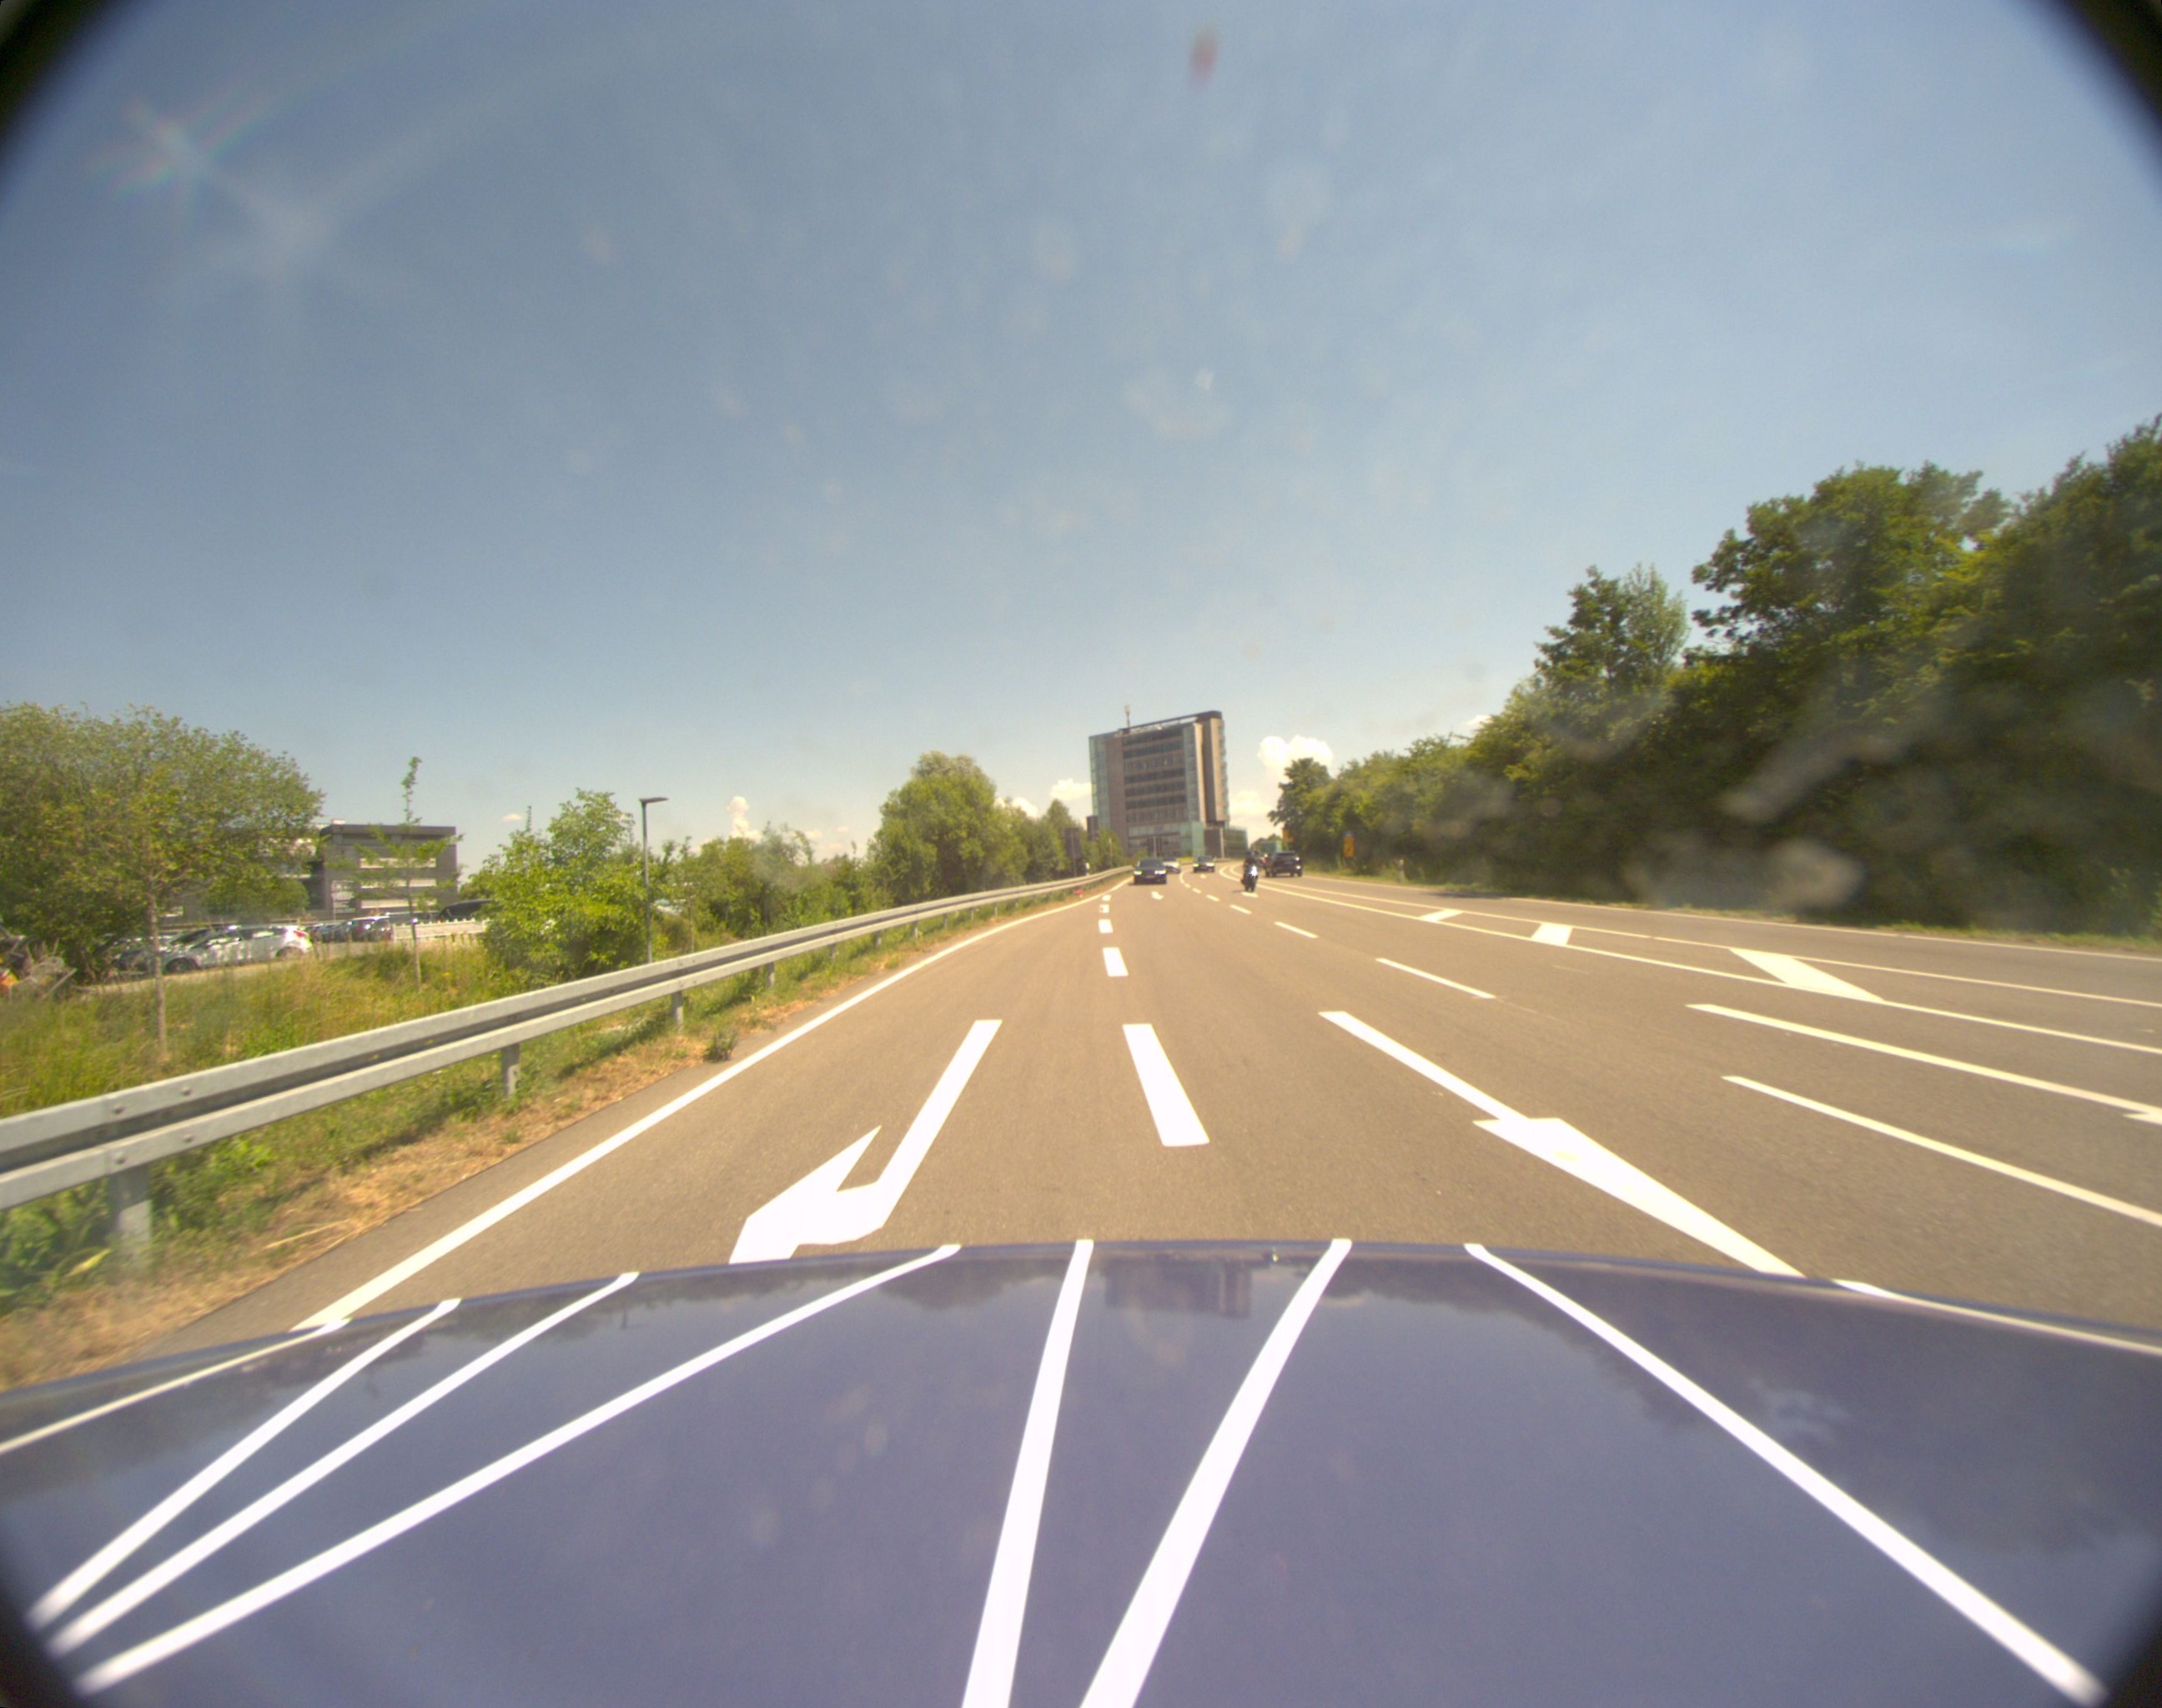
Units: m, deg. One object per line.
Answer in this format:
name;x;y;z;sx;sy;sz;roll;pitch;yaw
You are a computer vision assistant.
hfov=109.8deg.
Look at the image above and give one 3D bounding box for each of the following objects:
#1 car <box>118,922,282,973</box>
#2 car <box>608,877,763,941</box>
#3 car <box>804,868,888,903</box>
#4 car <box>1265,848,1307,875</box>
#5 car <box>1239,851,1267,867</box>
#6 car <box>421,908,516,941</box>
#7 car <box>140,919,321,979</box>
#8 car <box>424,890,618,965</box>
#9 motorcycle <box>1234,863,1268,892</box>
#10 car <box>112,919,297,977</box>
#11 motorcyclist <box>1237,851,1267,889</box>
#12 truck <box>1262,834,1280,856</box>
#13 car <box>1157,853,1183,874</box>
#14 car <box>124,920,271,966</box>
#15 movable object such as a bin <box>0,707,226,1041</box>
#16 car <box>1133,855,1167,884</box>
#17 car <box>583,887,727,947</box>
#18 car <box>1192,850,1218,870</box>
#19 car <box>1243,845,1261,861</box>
car;-36.743;3.838;31.805;1.942;1.547;4.351;-2;0;39
car;-16.406;2.261;31.695;5.231;2.243;2.136;-4;-2;-1
car;-15.281;2.062;49.528;4.688;1.956;2.002;-4;-2;8
car;13.014;0.447;48.399;1.997;1.583;4.685;-2;0;8
car;15.795;0.441;69.916;1.821;1.433;4.645;-1;0;4
car;-36.836;4.211;45.785;1.942;1.559;4.008;-2;0;35
car;-30.185;3.287;27.074;1.942;1.559;4.096;-2;0;37
car;-17.134;2.217;23.387;4.442;1.901;2.065;-4;-2;4
motorcycle;6.969;0.948;31.229;0.734;1.131;2.071;-1;0;-6
car;-32.486;3.425;28.286;1.942;1.547;4.351;-2;0;39
motorcyclist;6.973;0.645;31.072;0.861;1.479;1.161;-1;0;-6
truck;32.249;-1.497;129.170;2.873;3.553;9.440;-2;0;13
car;7.632;0.874;65.121;1.932;1.576;4.184;-4;-3;9
car;-41.207;4.091;35.551;1.942;1.547;4.351;-2;0;39
movable object such as a bin;-18.597;0.329;10.299;3.433;5.228;9.232;-4;-2;0
car;3.944;0.845;43.099;1.779;1.497;4.563;-2;-1;6
car;-16.147;2.375;28.936;4.304;1.956;2.002;-4;-2;5
car;10.733;0.523;65.709;2.116;1.581;4.454;-3;0;10
car;22.006;-0.153;97.793;1.997;1.883;5.107;-2;0;9
